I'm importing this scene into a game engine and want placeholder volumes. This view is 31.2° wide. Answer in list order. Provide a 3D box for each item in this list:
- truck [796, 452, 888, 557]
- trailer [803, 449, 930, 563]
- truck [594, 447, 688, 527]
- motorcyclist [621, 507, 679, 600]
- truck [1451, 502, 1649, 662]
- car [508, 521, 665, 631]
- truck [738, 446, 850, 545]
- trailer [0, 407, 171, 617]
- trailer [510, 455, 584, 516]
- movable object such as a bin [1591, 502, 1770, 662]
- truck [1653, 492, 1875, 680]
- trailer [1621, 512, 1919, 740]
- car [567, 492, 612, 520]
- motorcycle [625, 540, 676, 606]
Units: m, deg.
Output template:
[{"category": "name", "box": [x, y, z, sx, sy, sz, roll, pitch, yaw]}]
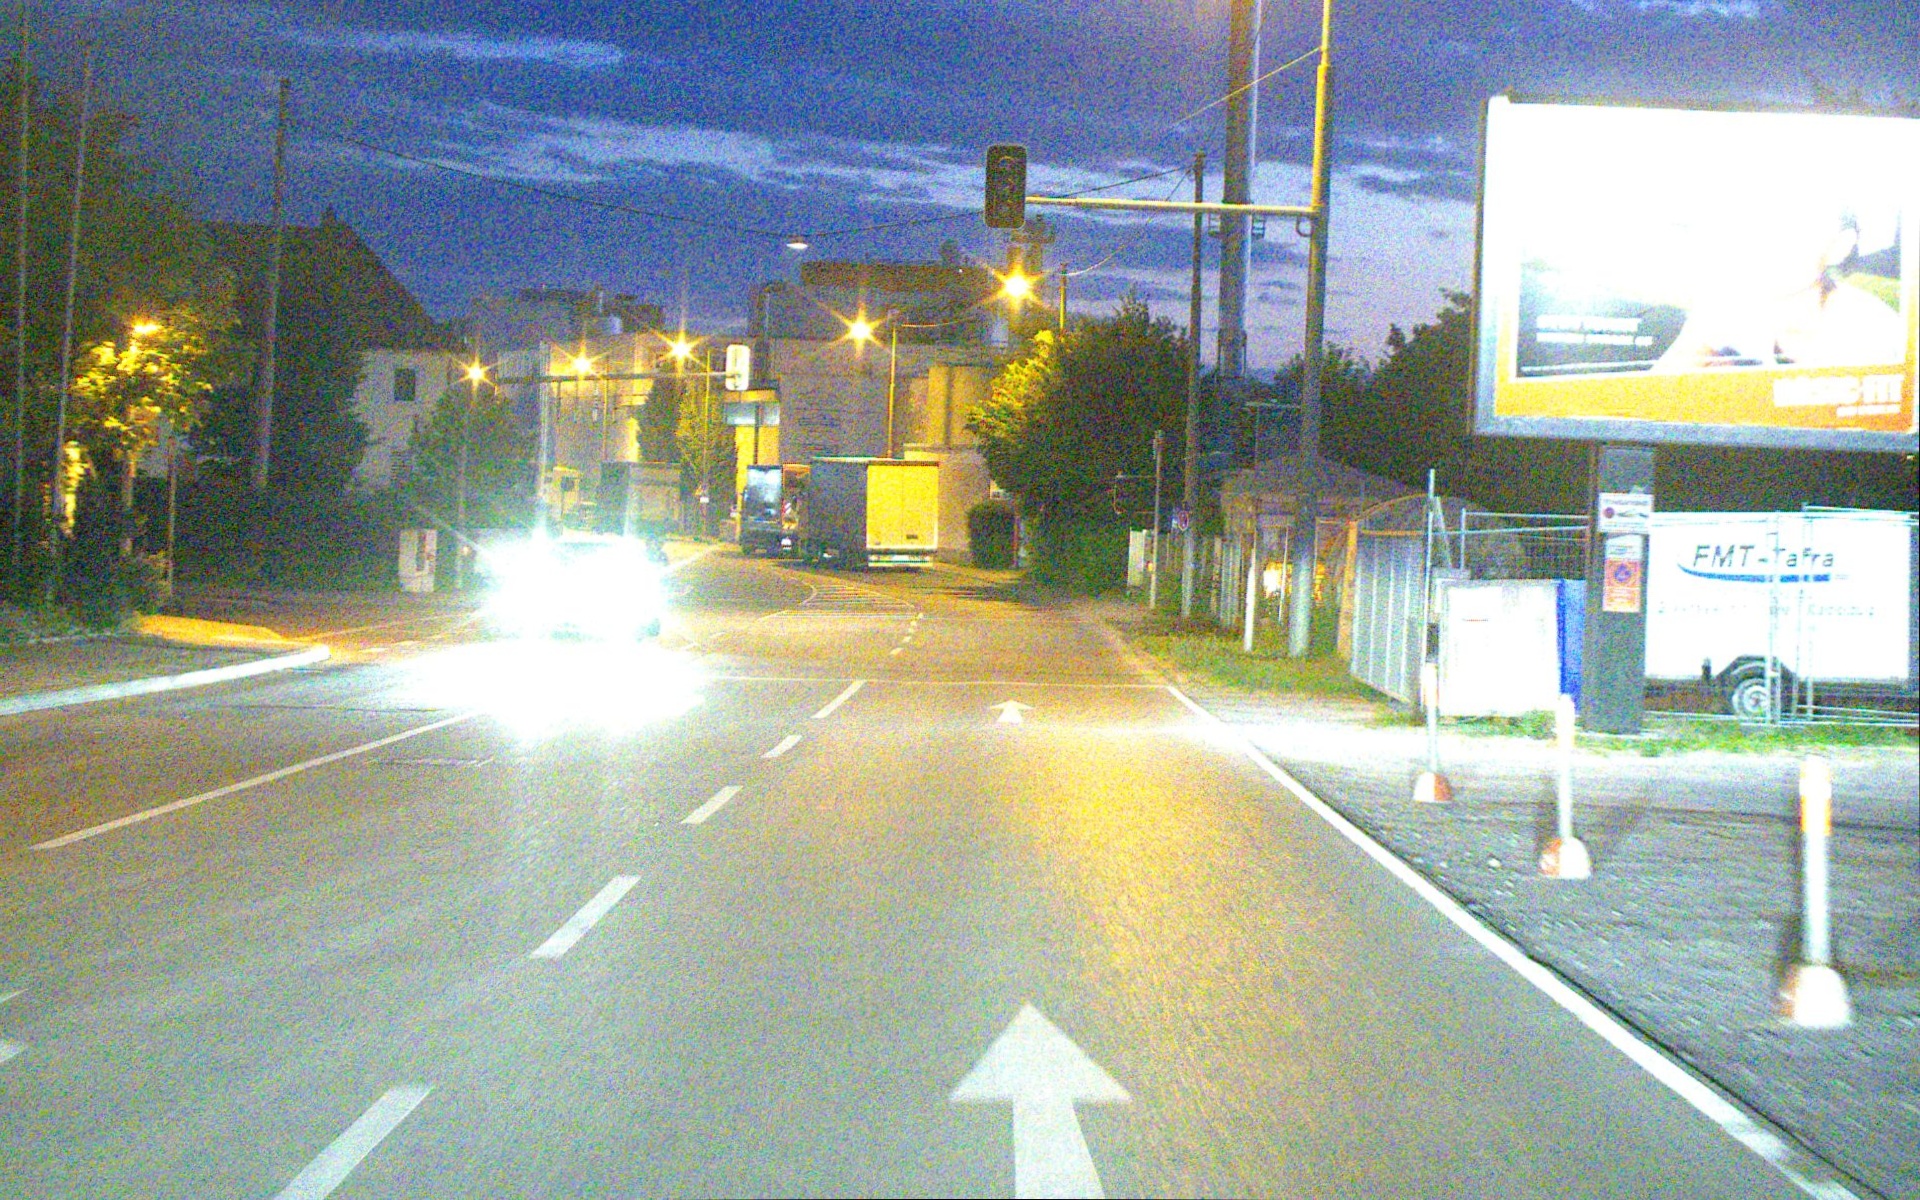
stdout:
[{"category": "truck", "box": [-4.655, -3.753, 134.515, 2.829, 3.969, 6.052, 1, 2, -9]}, {"category": "trailer", "box": [-3.606, -3.566, 128.024, 2.808, 3.969, 13.979, 1, 2, -9]}, {"category": "truck", "box": [-16.538, -5.864, 177.437, 3.519, 3.969, 10.346, 0, 2, -12]}, {"category": "motorcyclist", "box": [-6.537, -0.981, 72.552, 1.133, 1.893, 0.834, 2, 1, -6]}, {"category": "truck", "box": [9.802, -0.371, 57.755, 2.183, 2.414, 7.316, 3, 1, 2]}, {"category": "car", "box": [-5.963, -0.415, 55.332, 1.993, 1.621, 4.753, 2, 1, -1]}, {"category": "truck", "box": [-7.082, -4.443, 145.128, 2.829, 3.969, 10.346, 0, 2, -13]}, {"category": "trailer", "box": [-12.942, -1.202, 45.911, 4.348, 2.710, 2.000, 1, 2, 0]}, {"category": "trailer", "box": [-24.625, -6.847, 204.641, 2.686, 3.452, 7.812, 2, 2, -19]}, {"category": "movable object such as a bin", "box": [13.122, -0.366, 62.829, 2.227, 2.715, 3.866, 3, 1, -2]}, {"category": "truck", "box": [12.915, -0.279, 55.728, 2.183, 2.738, 7.315, 3, 1, 4]}, {"category": "trailer", "box": [8.219, 0.217, 31.987, 3.752, 2.006, 1.612, 2, 2, 24]}, {"category": "car", "box": [-20.692, -5.247, 191.982, 1.852, 1.514, 3.820, 0, 2, -16]}, {"category": "motorcycle", "box": [-6.544, -0.585, 72.581, 0.997, 1.300, 2.827, 2, 1, -6]}]
